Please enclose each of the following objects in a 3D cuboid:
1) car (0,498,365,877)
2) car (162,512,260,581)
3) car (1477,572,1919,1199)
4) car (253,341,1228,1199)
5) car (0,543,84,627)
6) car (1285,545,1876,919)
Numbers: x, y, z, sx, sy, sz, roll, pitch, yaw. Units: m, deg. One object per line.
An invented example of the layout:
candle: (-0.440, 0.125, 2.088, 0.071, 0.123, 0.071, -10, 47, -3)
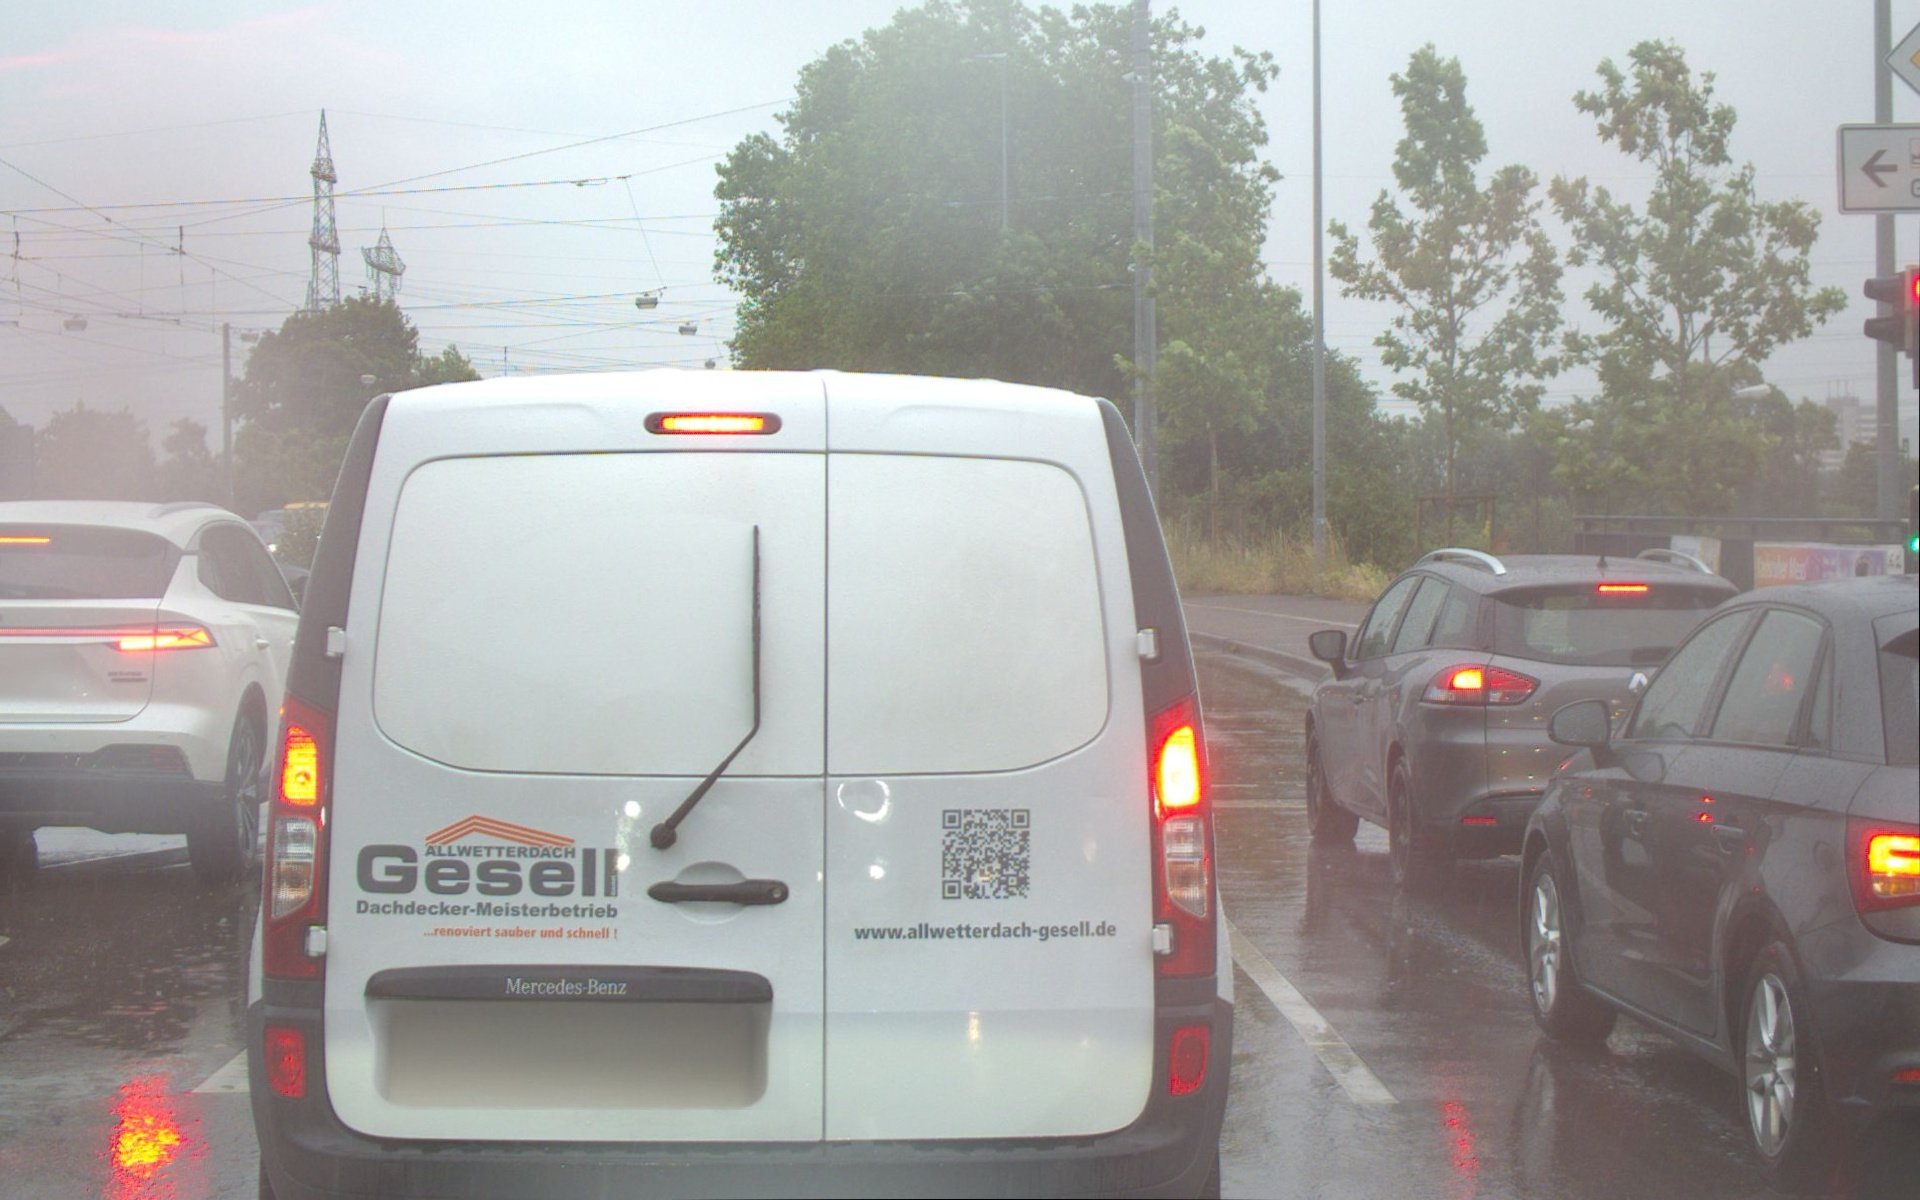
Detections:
car: (-3.972, 0.298, 16.103, 1.728, 1.530, 4.298, 1, 1, -2)
car: (-22.604, -1.607, 103.866, 1.993, 2.007, 4.000, 1, 1, 1)
car: (2.488, 0.617, 8.926, 1.629, 1.340, 3.624, 1, 1, -2)
car: (-0.376, 0.451, 7.552, 1.566, 1.782, 4.000, 0, 1, -1)
car: (-21.335, -0.357, 77.456, 1.929, 1.820, 3.999, 1, 1, 4)
car: (2.645, 0.496, 15.552, 1.859, 1.424, 3.808, 1, 1, -2)
